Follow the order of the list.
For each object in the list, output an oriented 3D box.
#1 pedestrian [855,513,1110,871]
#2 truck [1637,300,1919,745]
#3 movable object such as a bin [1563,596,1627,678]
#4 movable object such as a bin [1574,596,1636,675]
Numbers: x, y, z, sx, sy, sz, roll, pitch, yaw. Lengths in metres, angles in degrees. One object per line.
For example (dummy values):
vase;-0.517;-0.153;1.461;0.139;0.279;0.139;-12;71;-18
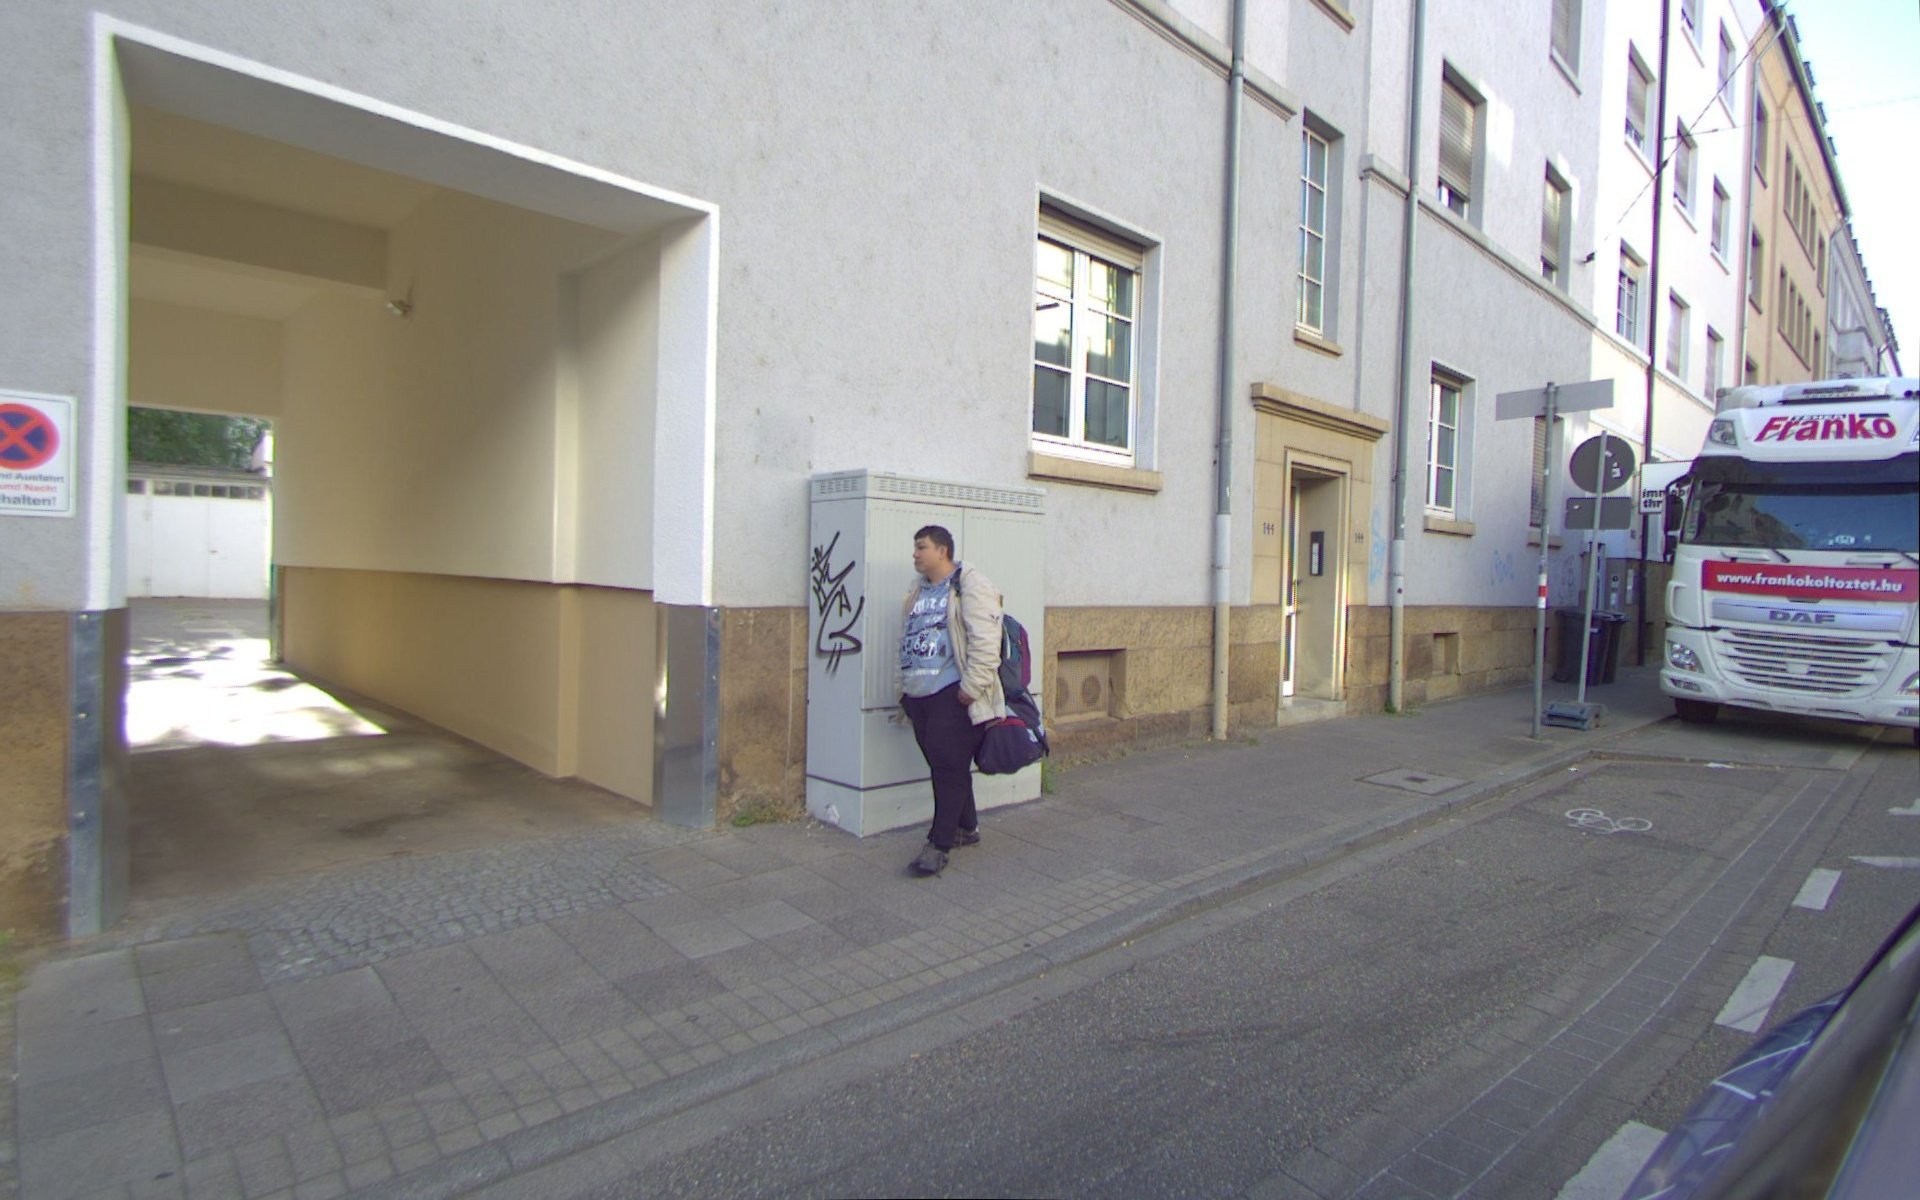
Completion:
pedestrian;0.104;0.377;4.975;0.854;1.552;0.827;0;3;-42
truck;12.656;-0.761;13.884;11.578;4.123;2.864;0;2;-43
movable object such as a bin;9.162;0.514;14.597;0.658;1.118;0.533;2;2;44
movable object such as a bin;9.572;0.508;15.012;0.658;1.118;0.533;2;2;44
